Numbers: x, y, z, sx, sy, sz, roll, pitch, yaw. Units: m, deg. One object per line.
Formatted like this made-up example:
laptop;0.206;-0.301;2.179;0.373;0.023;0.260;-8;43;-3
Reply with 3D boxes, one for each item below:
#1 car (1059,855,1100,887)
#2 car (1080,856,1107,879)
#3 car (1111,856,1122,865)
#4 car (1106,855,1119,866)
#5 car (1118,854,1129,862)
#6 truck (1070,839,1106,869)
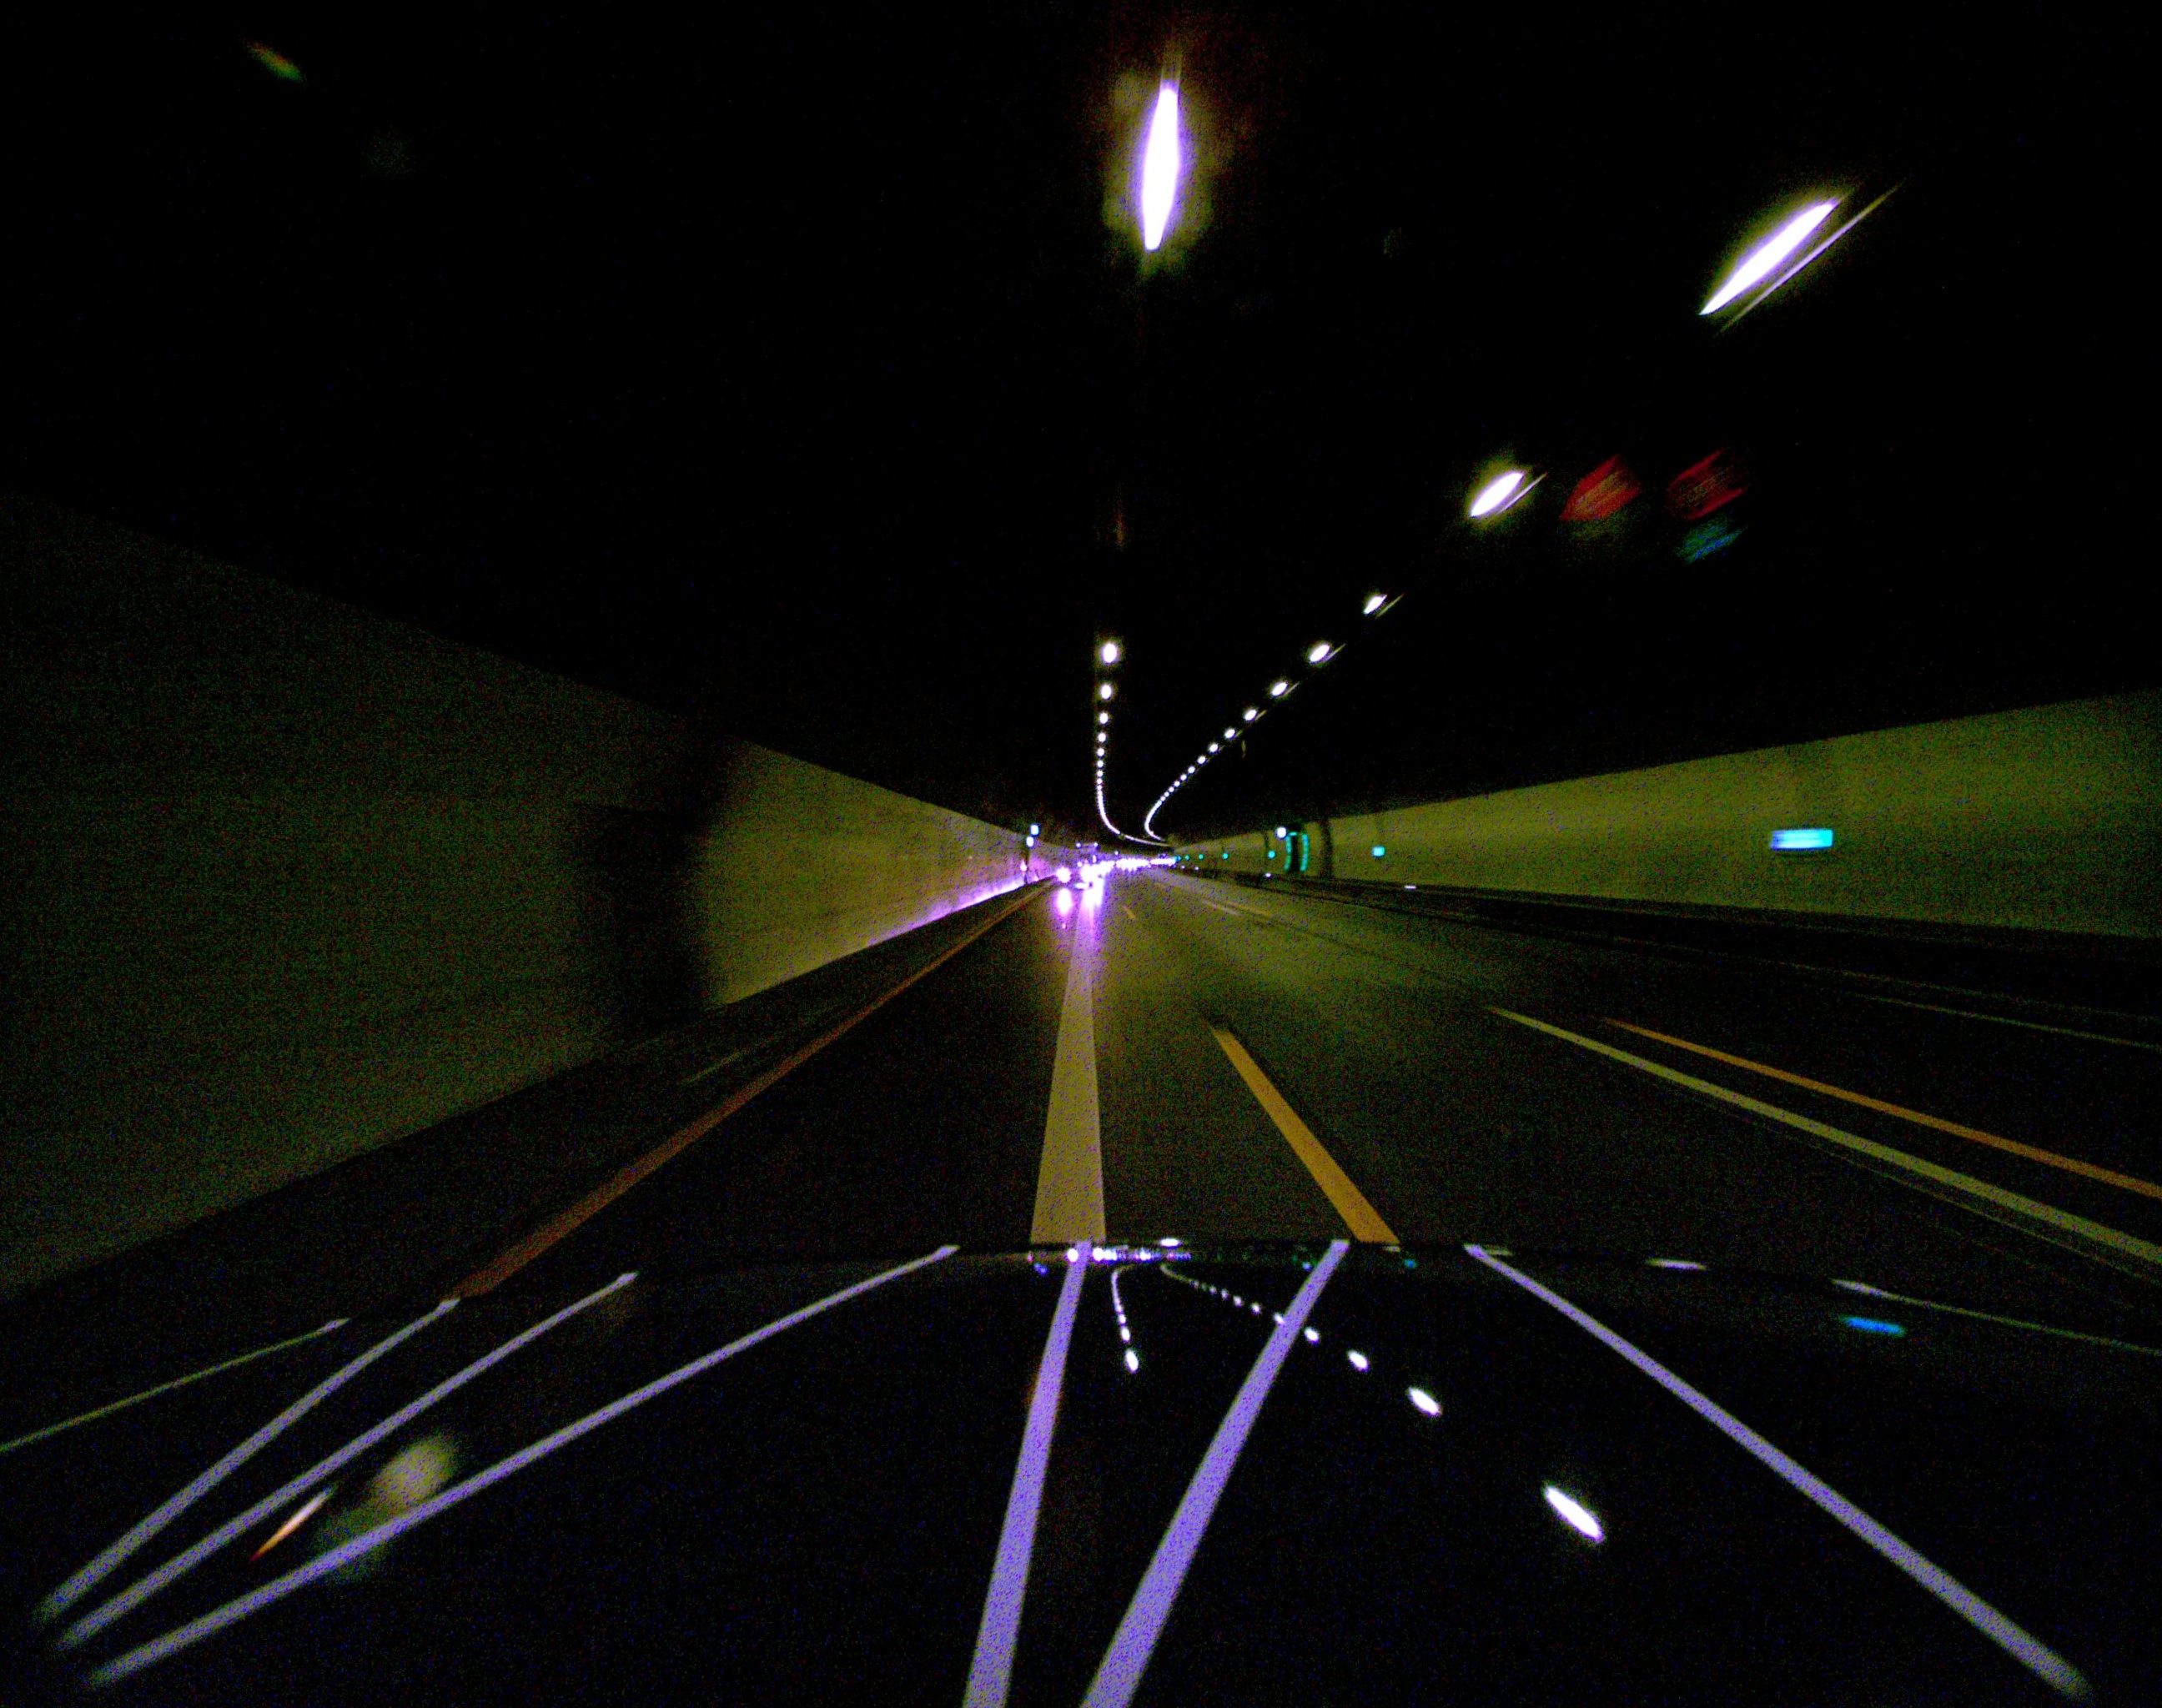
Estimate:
car;-0.031;0.945;43.579;2.171;1.709;4.482;-2;0;2
car;0.995;1.018;60.736;1.998;1.655;4.000;-3;0;1
car;7.987;1.380;170.947;1.997;1.892;4.003;-2;0;9
car;5.960;1.163;143.207;1.997;1.892;4.002;-2;0;8
car;10.575;1.041;188.126;1.996;1.917;4.390;-2;0;14
truck;0.911;0.023;86.481;2.987;3.161;10.513;-2;0;6
